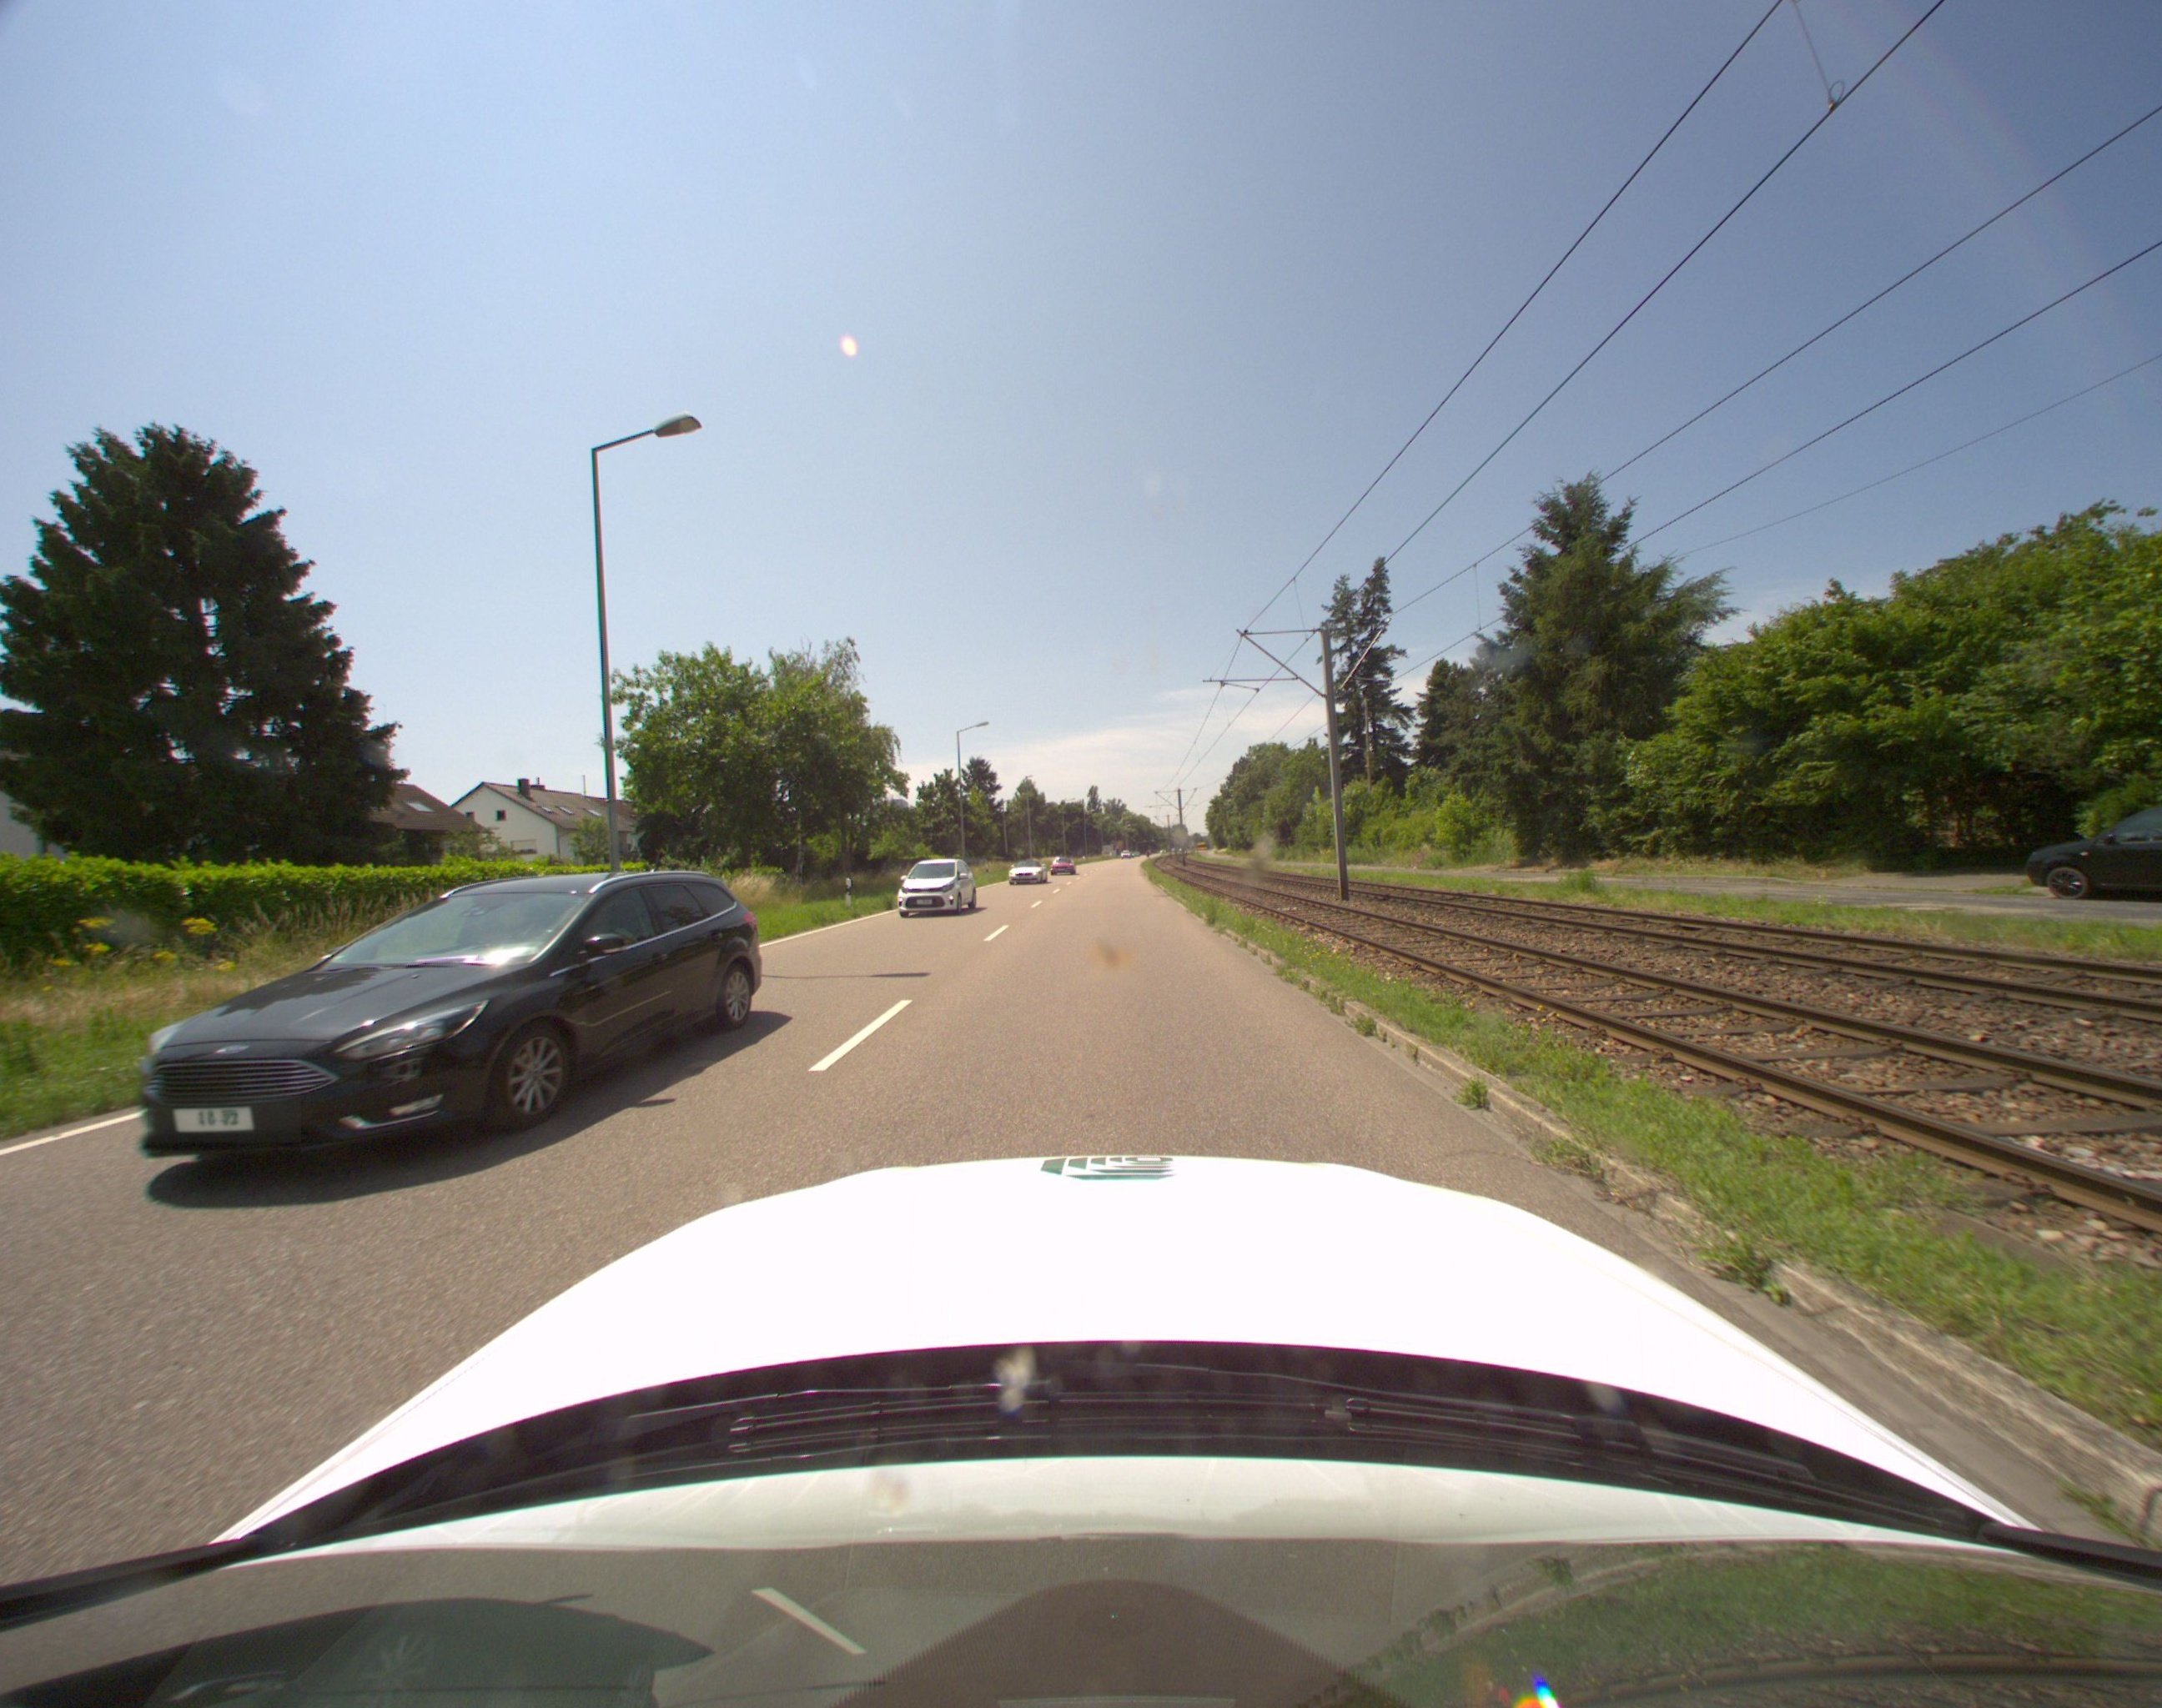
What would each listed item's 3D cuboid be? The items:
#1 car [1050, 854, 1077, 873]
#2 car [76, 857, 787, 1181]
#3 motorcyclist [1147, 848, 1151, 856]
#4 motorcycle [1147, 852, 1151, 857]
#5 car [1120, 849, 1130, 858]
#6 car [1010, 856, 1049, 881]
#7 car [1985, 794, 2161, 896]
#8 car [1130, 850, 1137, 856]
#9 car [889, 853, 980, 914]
[{"bbox_3d":[-1.333,0.728,62.843,1.742,1.301,4.255,-3,0,2],"label":"car"},{"bbox_3d":[-3.976,0.815,6.195,1.694,1.491,4.442,-3,0,2],"label":"car"},{"bbox_3d":[16.584,-0.480,199.247,0.887,1.905,1.017,-3,0,6],"label":"motorcyclist"},{"bbox_3d":[16.606,0.045,199.225,0.965,1.117,2.737,-3,0,6],"label":"motorcycle"},{"bbox_3d":[9.734,-0.070,178.614,1.926,1.796,4.718,-3,0,5],"label":"car"},{"bbox_3d":[-2.762,0.765,44.329,1.676,1.249,3.911,-3,0,2],"label":"car"},{"bbox_3d":[16.518,-0.166,12.036,1.907,1.470,4.002,-3,0,2],"label":"car"},{"bbox_3d":[14.240,-0.228,221.081,1.809,1.493,4.369,-3,0,5],"label":"car"},{"bbox_3d":[-4.022,0.769,22.931,1.740,1.503,3.709,-3,0,2],"label":"car"}]
